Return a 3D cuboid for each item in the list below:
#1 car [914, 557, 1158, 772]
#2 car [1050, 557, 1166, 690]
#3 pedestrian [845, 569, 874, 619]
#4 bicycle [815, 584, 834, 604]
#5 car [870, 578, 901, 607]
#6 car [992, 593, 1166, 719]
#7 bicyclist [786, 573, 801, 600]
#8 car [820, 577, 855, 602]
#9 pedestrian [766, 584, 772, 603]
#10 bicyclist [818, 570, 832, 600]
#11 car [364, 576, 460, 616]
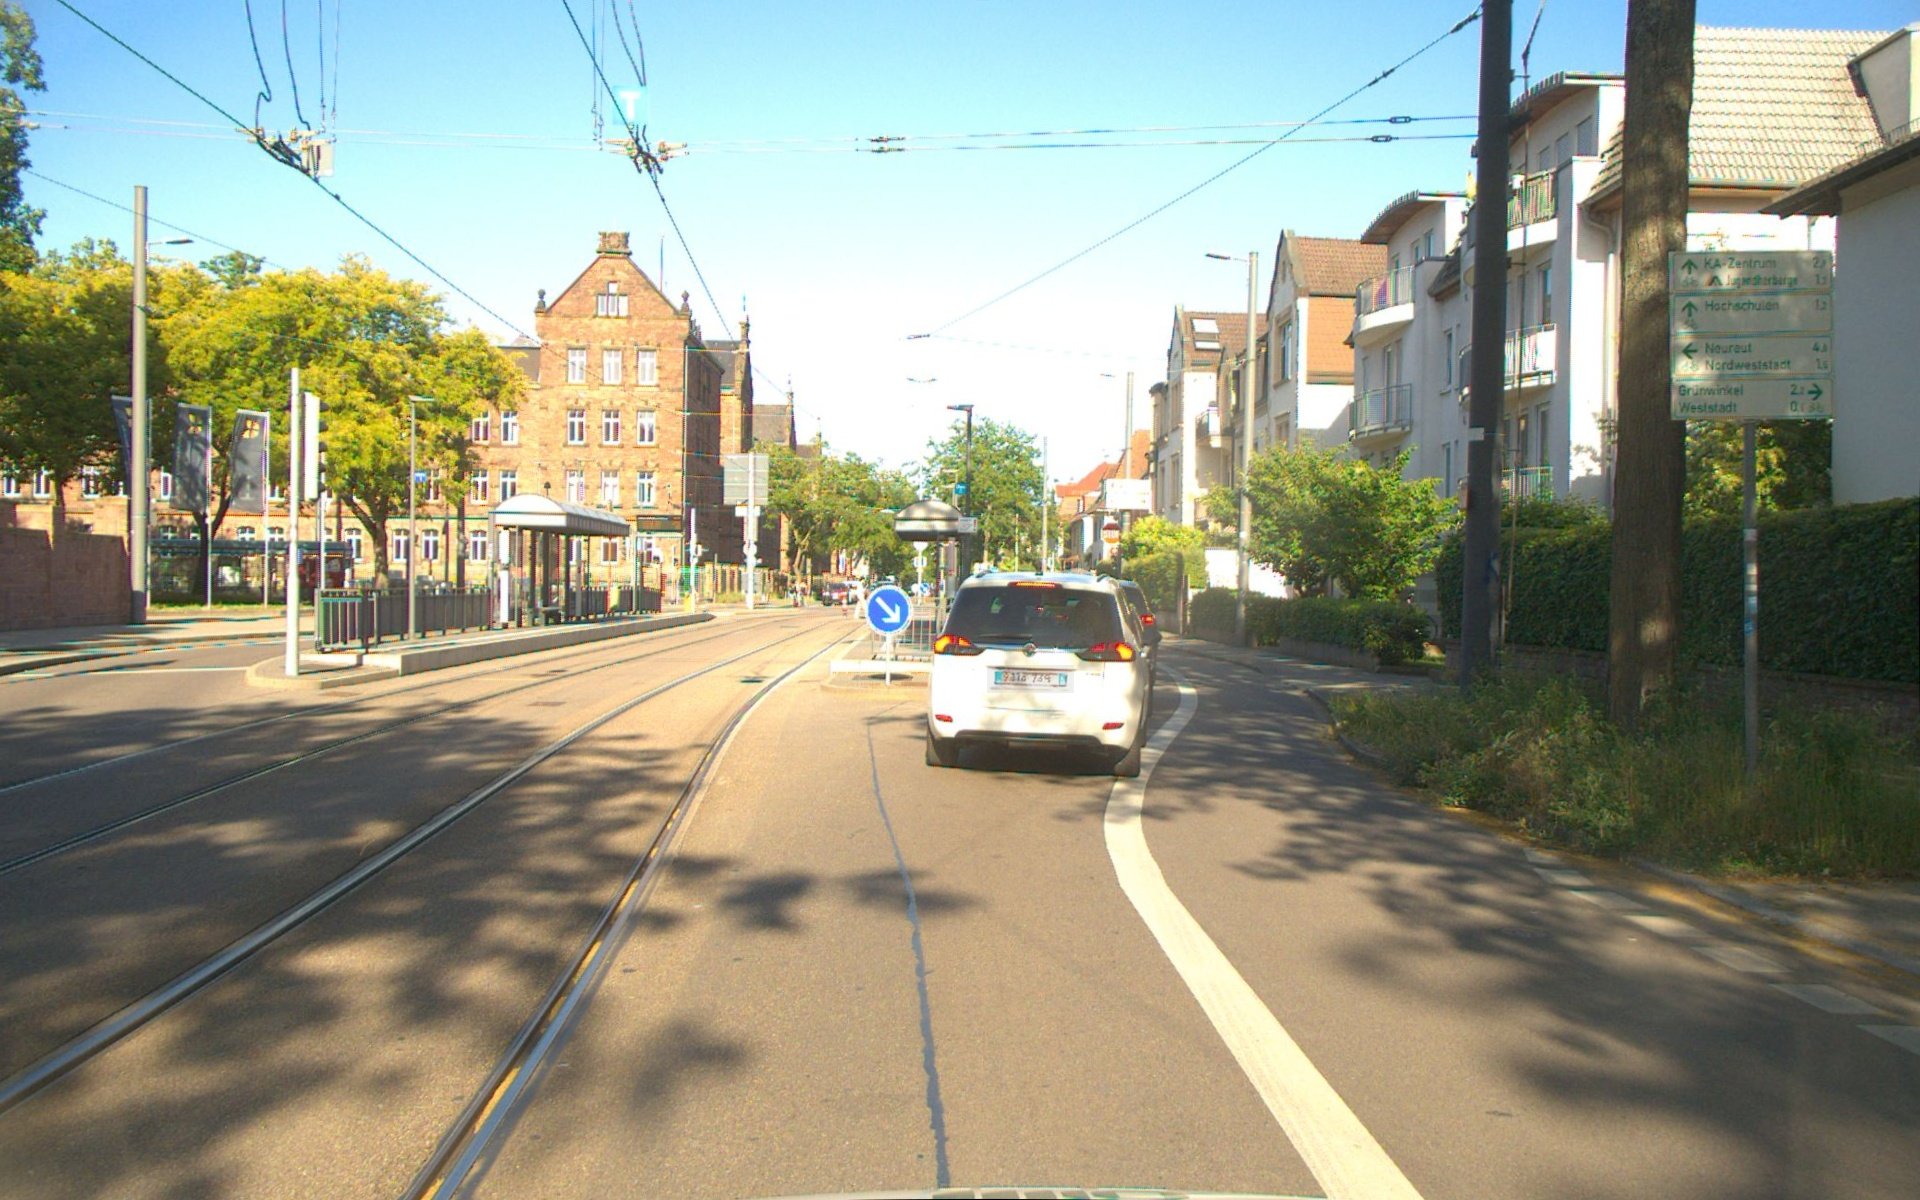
[{"bbox_3d":[0.834,0.548,14.945,1.852,1.639,4.231,1,-2,7],"label":"car"},{"bbox_3d":[2.541,0.350,27.713,1.672,2.049,3.910,0,0,9],"label":"car"},{"bbox_3d":[-4.139,-0.257,68.393,1.132,2.048,1.119,-1,1,-2],"label":"pedestrian"},{"bbox_3d":[-9.268,-0.397,113.054,1.125,1.319,2.860,1,0,-2],"label":"bicycle"},{"bbox_3d":[-5.163,-0.480,114.713,1.952,1.947,4.000,1,0,0],"label":"car"},{"bbox_3d":[1.650,0.645,21.592,1.951,1.467,4.003,0,0,9],"label":"car"},{"bbox_3d":[-11.108,-0.895,110.504,0.924,1.765,0.861,1,0,-1],"label":"bicyclist"},{"bbox_3d":[-8.966,-0.770,121.291,1.952,1.752,4.002,1,0,4],"label":"car"},{"bbox_3d":[-14.819,-0.472,128.107,0.354,1.463,0.549,1,0,1],"label":"pedestrian"},{"bbox_3d":[-9.230,-1.027,113.049,0.931,2.049,0.823,1,0,-4],"label":"bicyclist"},{"bbox_3d":[-25.868,-0.184,78.216,3.909,1.821,1.998,1,0,-5],"label":"car"}]
